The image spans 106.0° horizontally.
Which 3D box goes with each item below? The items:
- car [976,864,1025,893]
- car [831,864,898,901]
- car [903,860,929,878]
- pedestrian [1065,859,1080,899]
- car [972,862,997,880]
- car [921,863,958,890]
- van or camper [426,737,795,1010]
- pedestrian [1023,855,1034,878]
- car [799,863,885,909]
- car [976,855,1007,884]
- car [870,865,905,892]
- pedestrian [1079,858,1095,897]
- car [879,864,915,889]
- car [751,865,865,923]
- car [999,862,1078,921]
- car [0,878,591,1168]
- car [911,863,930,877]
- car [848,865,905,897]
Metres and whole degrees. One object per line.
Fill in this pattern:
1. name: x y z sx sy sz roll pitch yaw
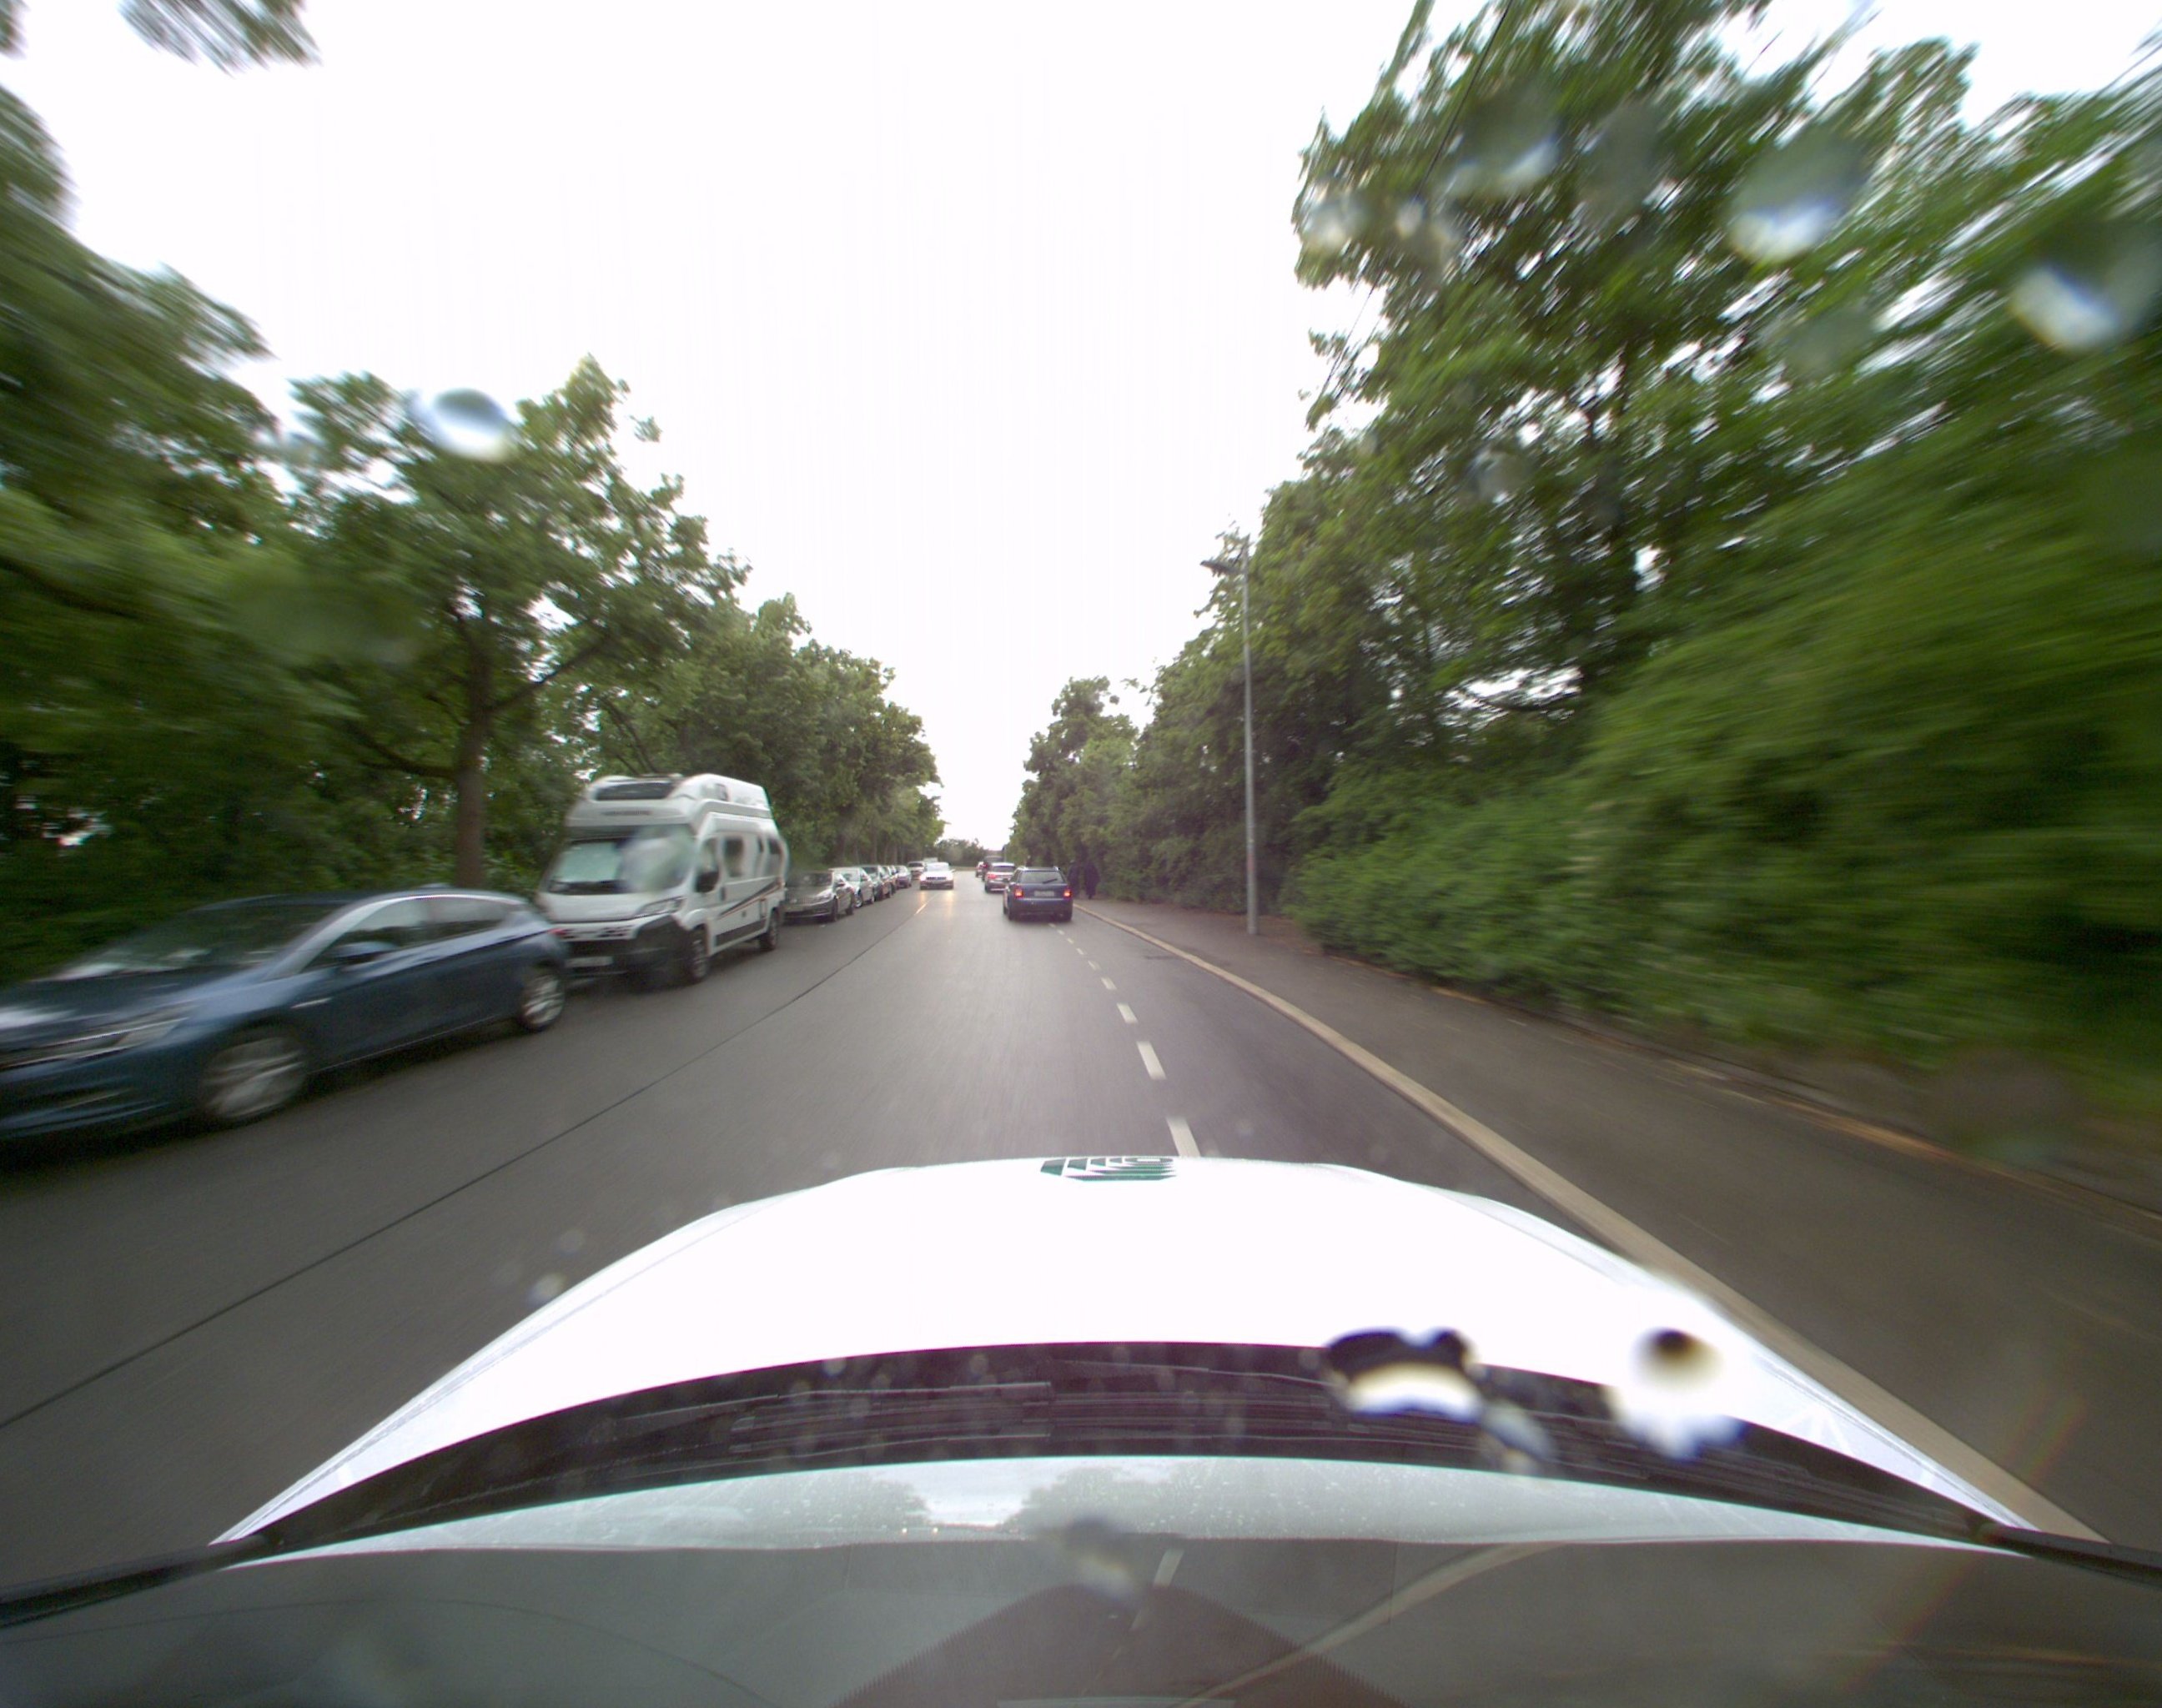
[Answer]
1. car: -4.147 1.214 41.390 1.894 1.389 3.980 -1 -1 -15
2. car: -9.160 1.159 34.821 1.991 1.405 4.704 -2 -1 -6
3. car: -13.832 1.272 68.286 1.686 1.437 4.247 -1 -1 -6
4. pedestrian: -0.350 0.981 32.610 0.551 1.566 0.486 -2 -1 -4
5. car: -8.960 1.574 75.552 1.825 1.617 3.766 -1 -1 -15
6. car: -7.989 1.260 46.189 1.882 1.402 4.244 -1 -1 -8
7. van or camper: -6.654 0.257 12.853 2.504 3.026 6.544 -5 -1 -7
8. pedestrian: -4.122 0.980 63.998 0.716 1.835 1.019 -2 -1 -6
9. car: -8.675 1.096 29.974 1.990 1.405 4.707 -2 0 -4
10. car: -6.689 1.171 60.662 1.790 1.953 3.983 -4 -2 -12
11. car: -10.624 1.332 44.852 1.595 1.362 3.986 -1 -1 -10
12. pedestrian: 0.253 0.941 32.717 0.594 1.566 0.668 -1 -1 -4
13. car: -11.106 1.356 49.393 1.753 1.402 4.406 -1 -1 -8
14. car: -7.748 1.070 23.680 1.991 1.309 5.343 -2 1 -6
15. car: -1.293 0.996 23.169 1.747 1.407 3.987 1 1 -10
16. car: -6.204 1.006 6.459 1.947 1.408 4.208 -3 0 1
17. car: -17.344 1.702 88.060 1.797 1.437 4.242 -1 -1 -9
18. car: -10.033 1.279 40.265 1.991 1.405 4.704 -2 -1 -6
